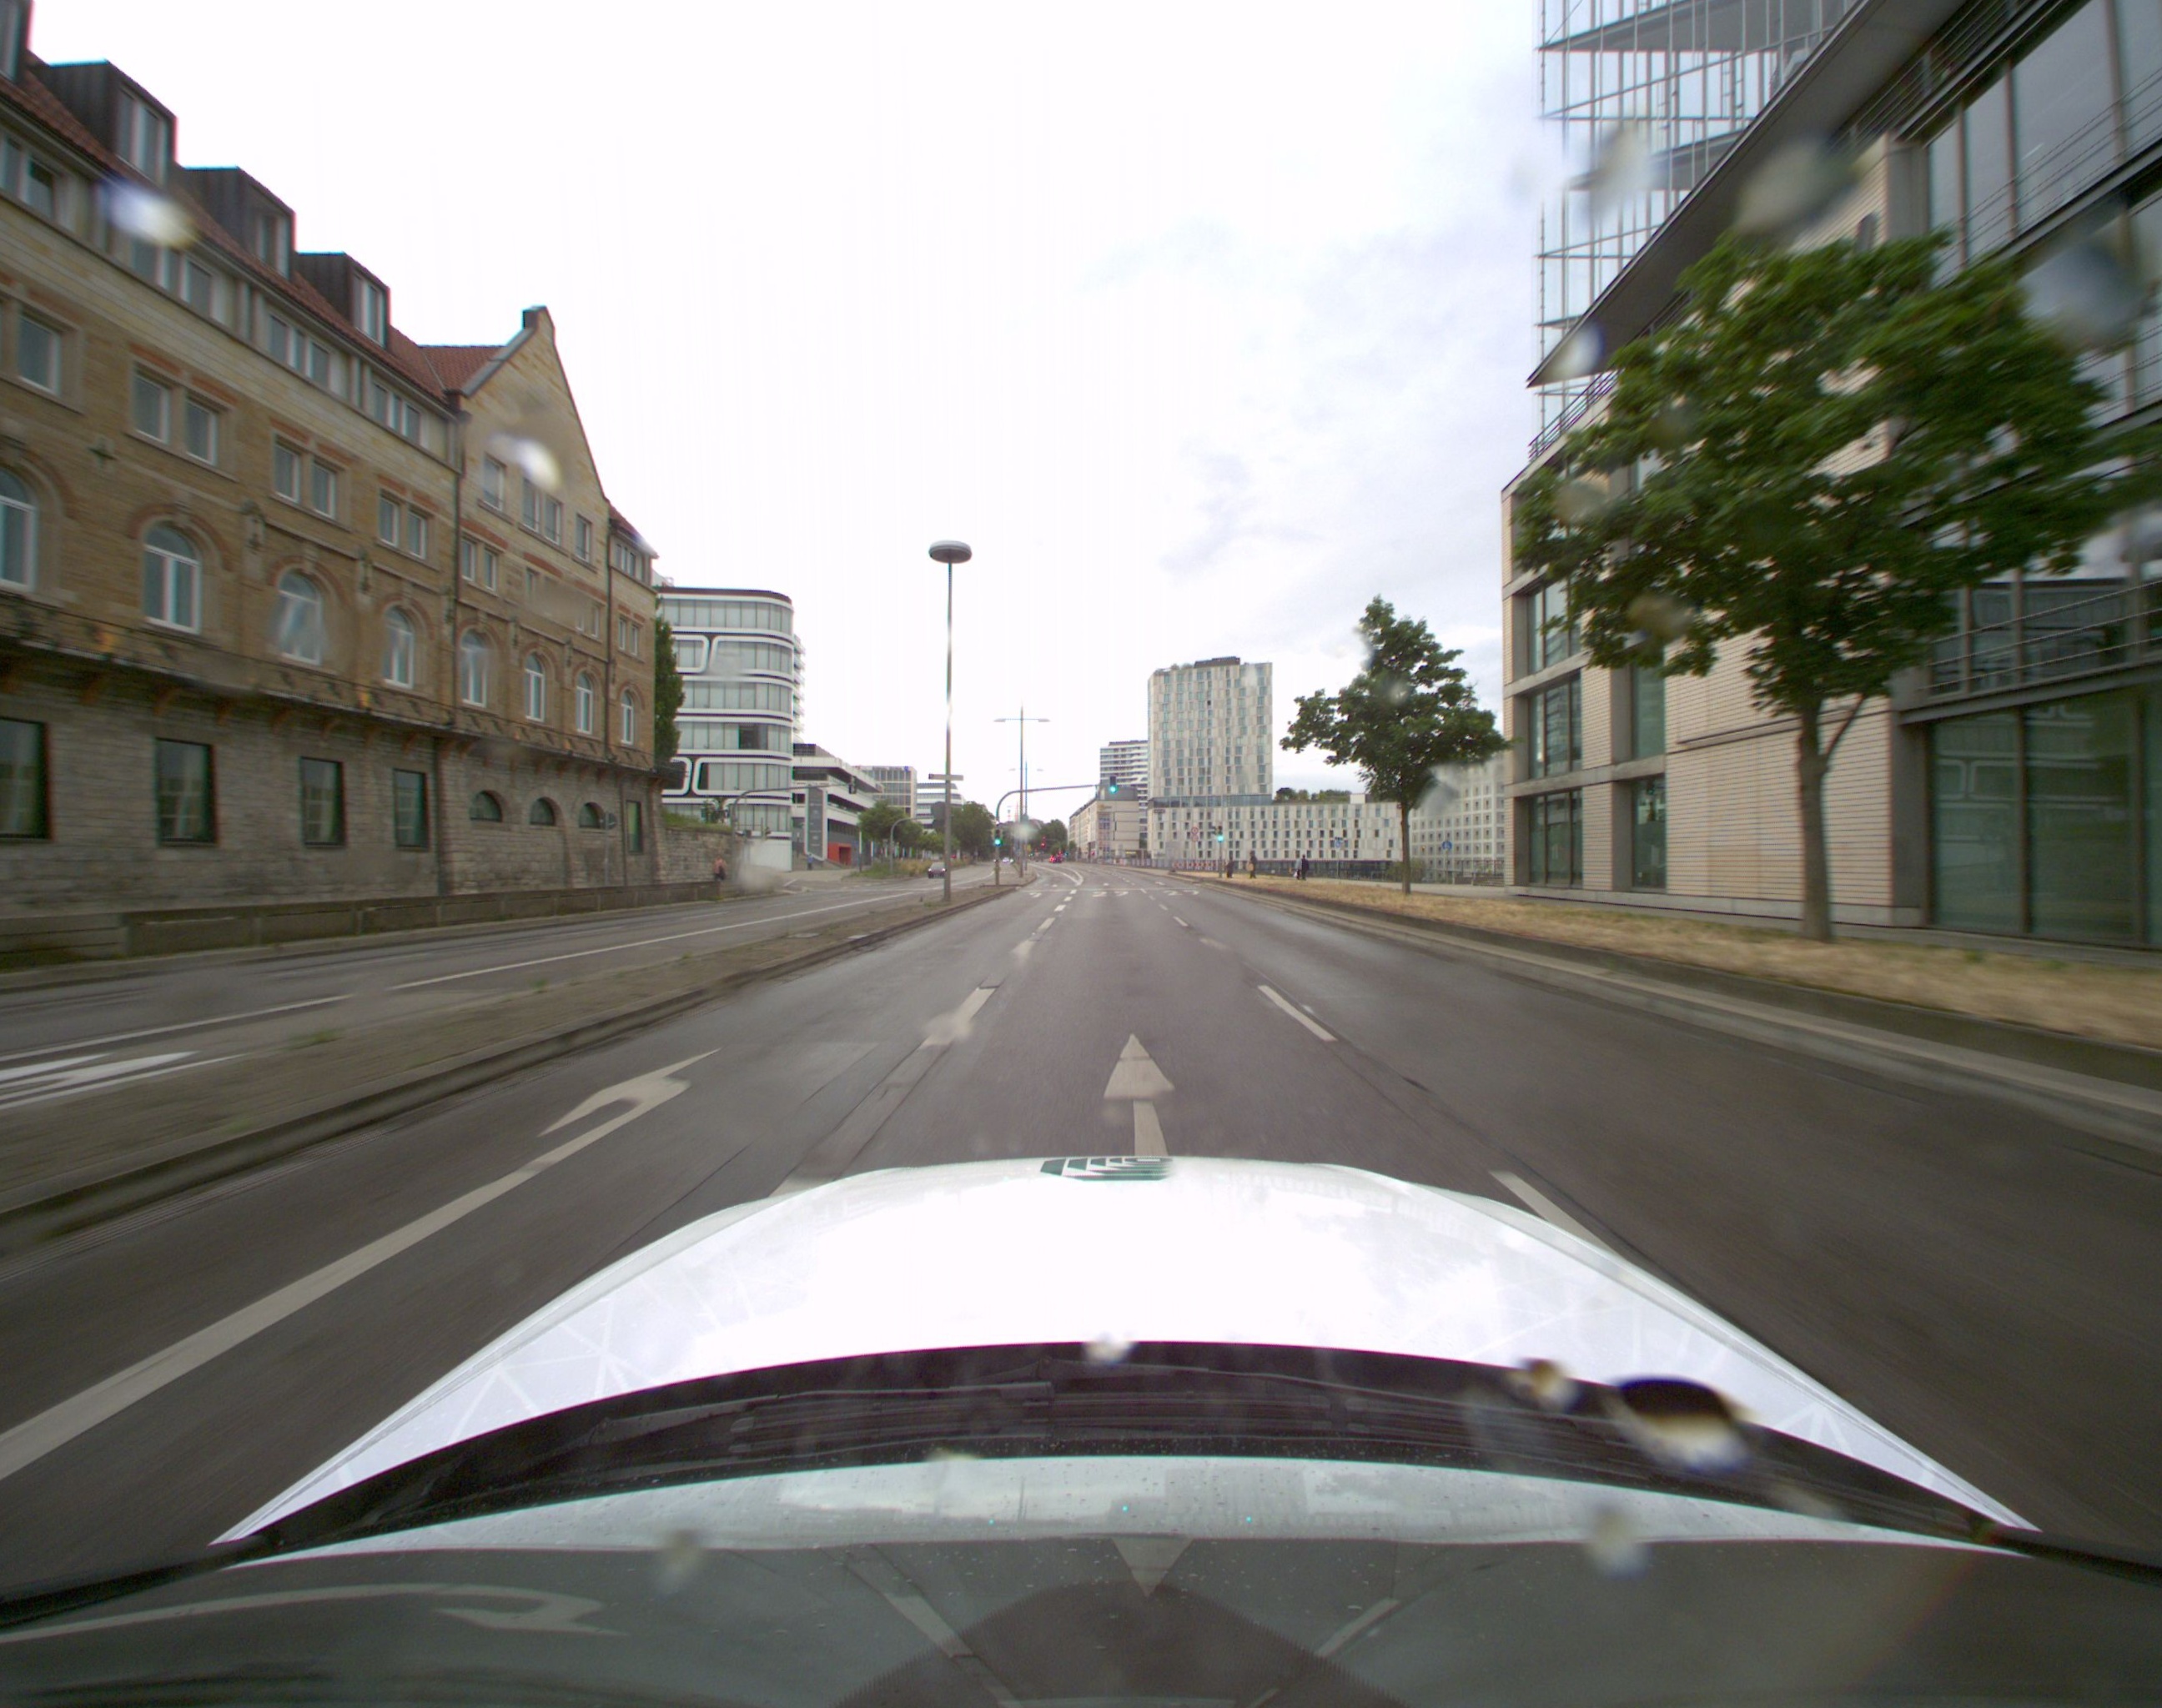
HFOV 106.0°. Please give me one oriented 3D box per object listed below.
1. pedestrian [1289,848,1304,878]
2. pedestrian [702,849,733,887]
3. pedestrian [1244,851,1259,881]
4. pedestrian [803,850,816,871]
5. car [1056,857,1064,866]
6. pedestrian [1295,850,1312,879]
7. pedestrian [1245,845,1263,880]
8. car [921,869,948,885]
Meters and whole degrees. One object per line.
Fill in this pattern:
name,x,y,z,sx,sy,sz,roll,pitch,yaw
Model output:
pedestrian,11.651,0.499,44.018,0.544,1.578,0.675,-1,1,35
pedestrian,-18.230,0.699,40.867,0.872,1.867,1.068,-1,1,35
pedestrian,9.169,0.645,43.850,0.544,1.578,0.675,-1,1,35
pedestrian,-26.936,0.612,80.744,1.026,2.013,0.716,-2,1,0
car,-5.786,2.122,221.091,1.987,2.343,4.000,-3,0,1
pedestrian,12.396,0.555,45.291,0.662,1.578,0.673,-1,1,39
pedestrian,9.299,0.434,43.842,0.787,1.841,0.544,-3,1,-42
car,-13.706,2.143,76.246,1.742,1.407,3.725,-1,0,1
